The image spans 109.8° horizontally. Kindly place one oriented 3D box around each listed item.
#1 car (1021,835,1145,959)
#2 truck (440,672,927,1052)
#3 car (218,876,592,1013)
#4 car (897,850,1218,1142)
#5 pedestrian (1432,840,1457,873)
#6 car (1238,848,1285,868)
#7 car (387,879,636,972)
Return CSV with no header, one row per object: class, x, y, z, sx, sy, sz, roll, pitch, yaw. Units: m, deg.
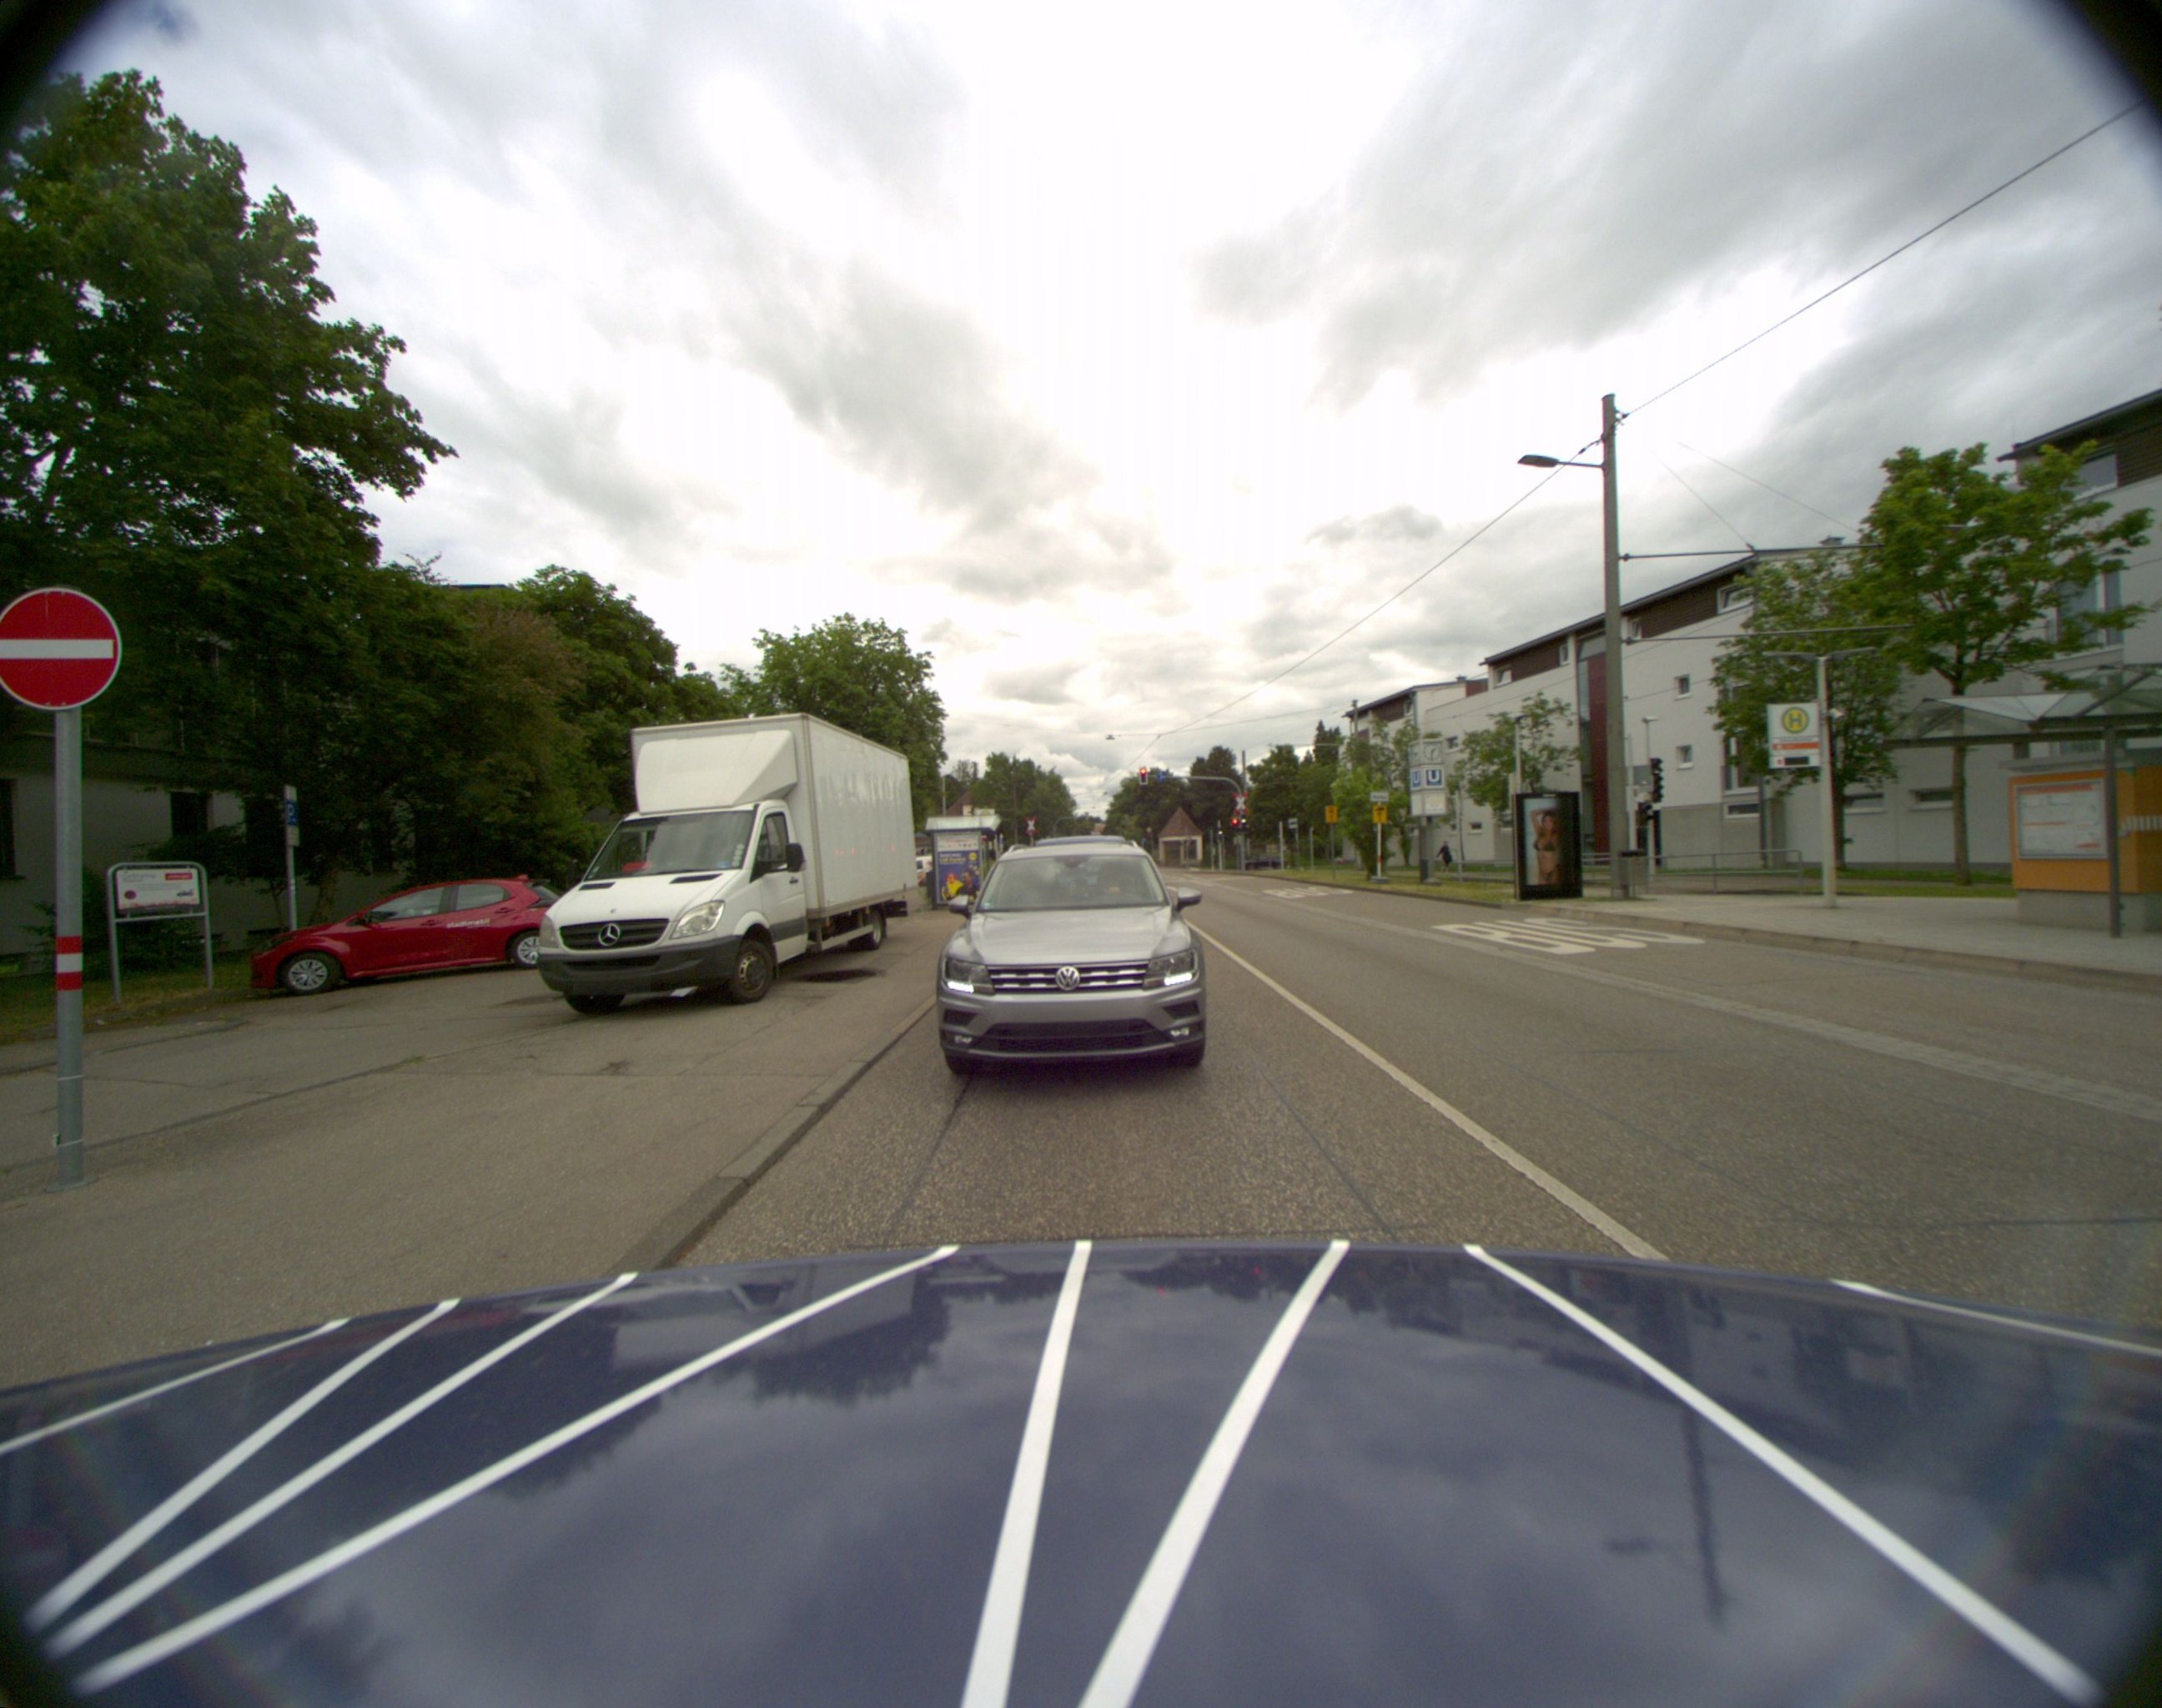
car,0.054,0.648,13.755,1.849,1.850,4.000,-2,0,1
truck,-4.444,0.024,10.888,2.541,3.407,7.775,-2,1,2
car,-10.066,1.259,11.756,3.902,1.475,1.680,-5,2,-24
car,-0.105,0.822,6.603,1.811,1.638,4.330,-2,0,1
pedestrian,18.338,0.120,38.350,0.782,1.586,0.780,-2,1,-8
car,17.532,0.378,74.001,3.998,1.696,1.928,-2,1,-3
car,-11.851,1.421,16.167,4.005,1.402,1.521,-5,2,-31
